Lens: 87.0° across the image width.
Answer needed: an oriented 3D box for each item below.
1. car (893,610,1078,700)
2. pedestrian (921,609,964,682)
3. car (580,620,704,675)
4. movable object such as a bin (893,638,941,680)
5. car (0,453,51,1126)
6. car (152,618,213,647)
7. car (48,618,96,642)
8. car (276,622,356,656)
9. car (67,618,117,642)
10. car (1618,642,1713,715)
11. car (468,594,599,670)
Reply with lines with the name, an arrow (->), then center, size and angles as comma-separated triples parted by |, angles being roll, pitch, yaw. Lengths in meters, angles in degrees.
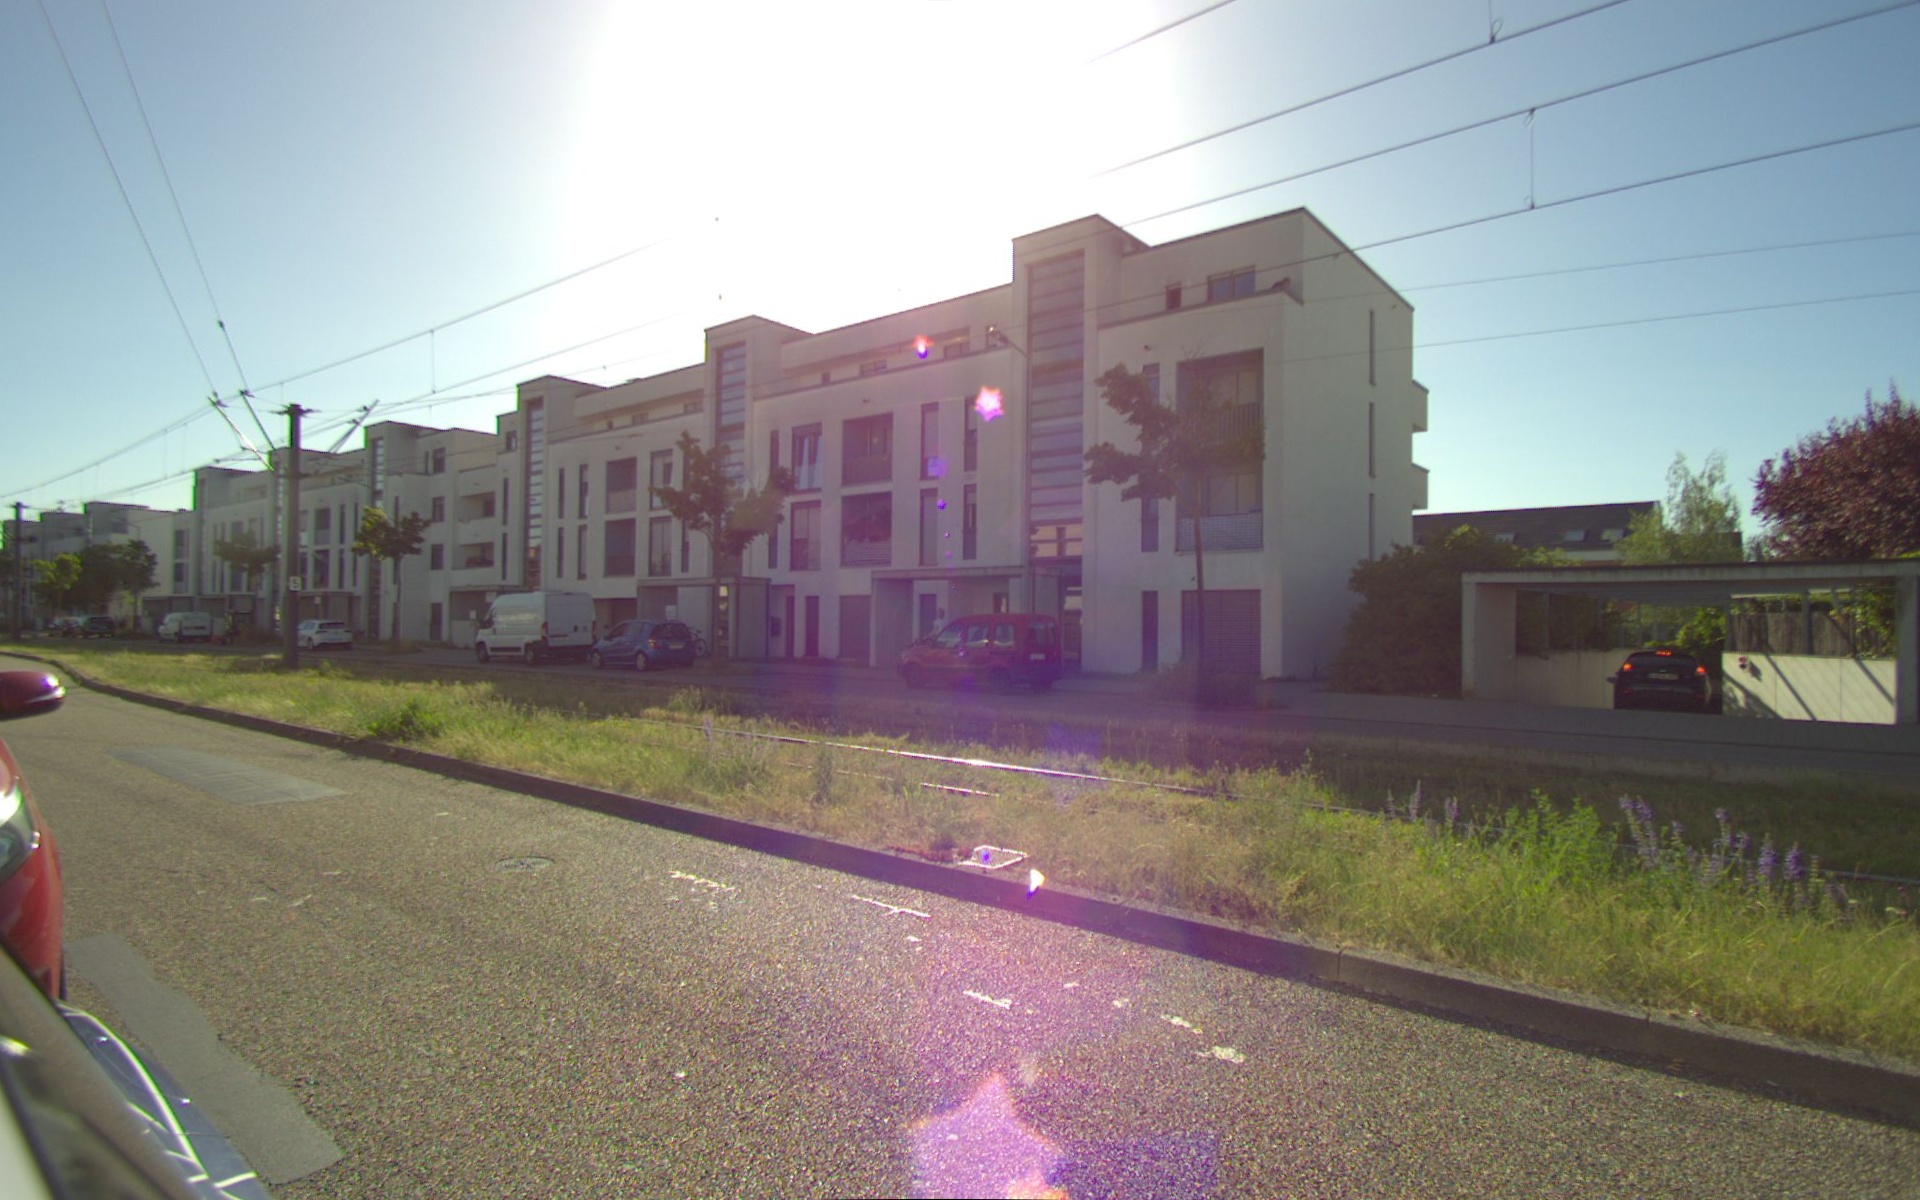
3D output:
car -> 0.527, 1.167, 23.031 | 3.895, 1.842, 1.972 | -1, 0, 43
pedestrian -> -0.452, 1.173, 26.476 | 0.785, 1.836, 0.766 | -1, 0, 41
car -> -10.011, 1.446, 31.752 | 3.833, 1.556, 1.973 | -1, 0, 40
movable object such as a bin -> -1.142, 1.566, 27.095 | 1.083, 1.062, 0.719 | -1, 0, 42
car -> -4.893, 0.554, 3.674 | 4.505, 1.868, 1.850 | -1, 0, 41
car -> -47.367, 1.957, 61.636 | 4.277, 1.693, 1.900 | -1, 0, 37
car -> -67.534, 2.249, 76.941 | 4.277, 1.693, 1.900 | -1, 0, 37
car -> -31.147, 1.835, 48.911 | 4.277, 1.517, 1.900 | -1, 0, 37
car -> -62.989, 2.159, 73.417 | 4.277, 1.693, 1.900 | -1, 0, 37
car -> 15.483, 1.749, 22.135 | 1.574, 1.337, 3.950 | -1, -7, 37
car -> -15.206, 1.073, 35.956 | 5.193, 2.491, 2.197 | -1, 0, 40
